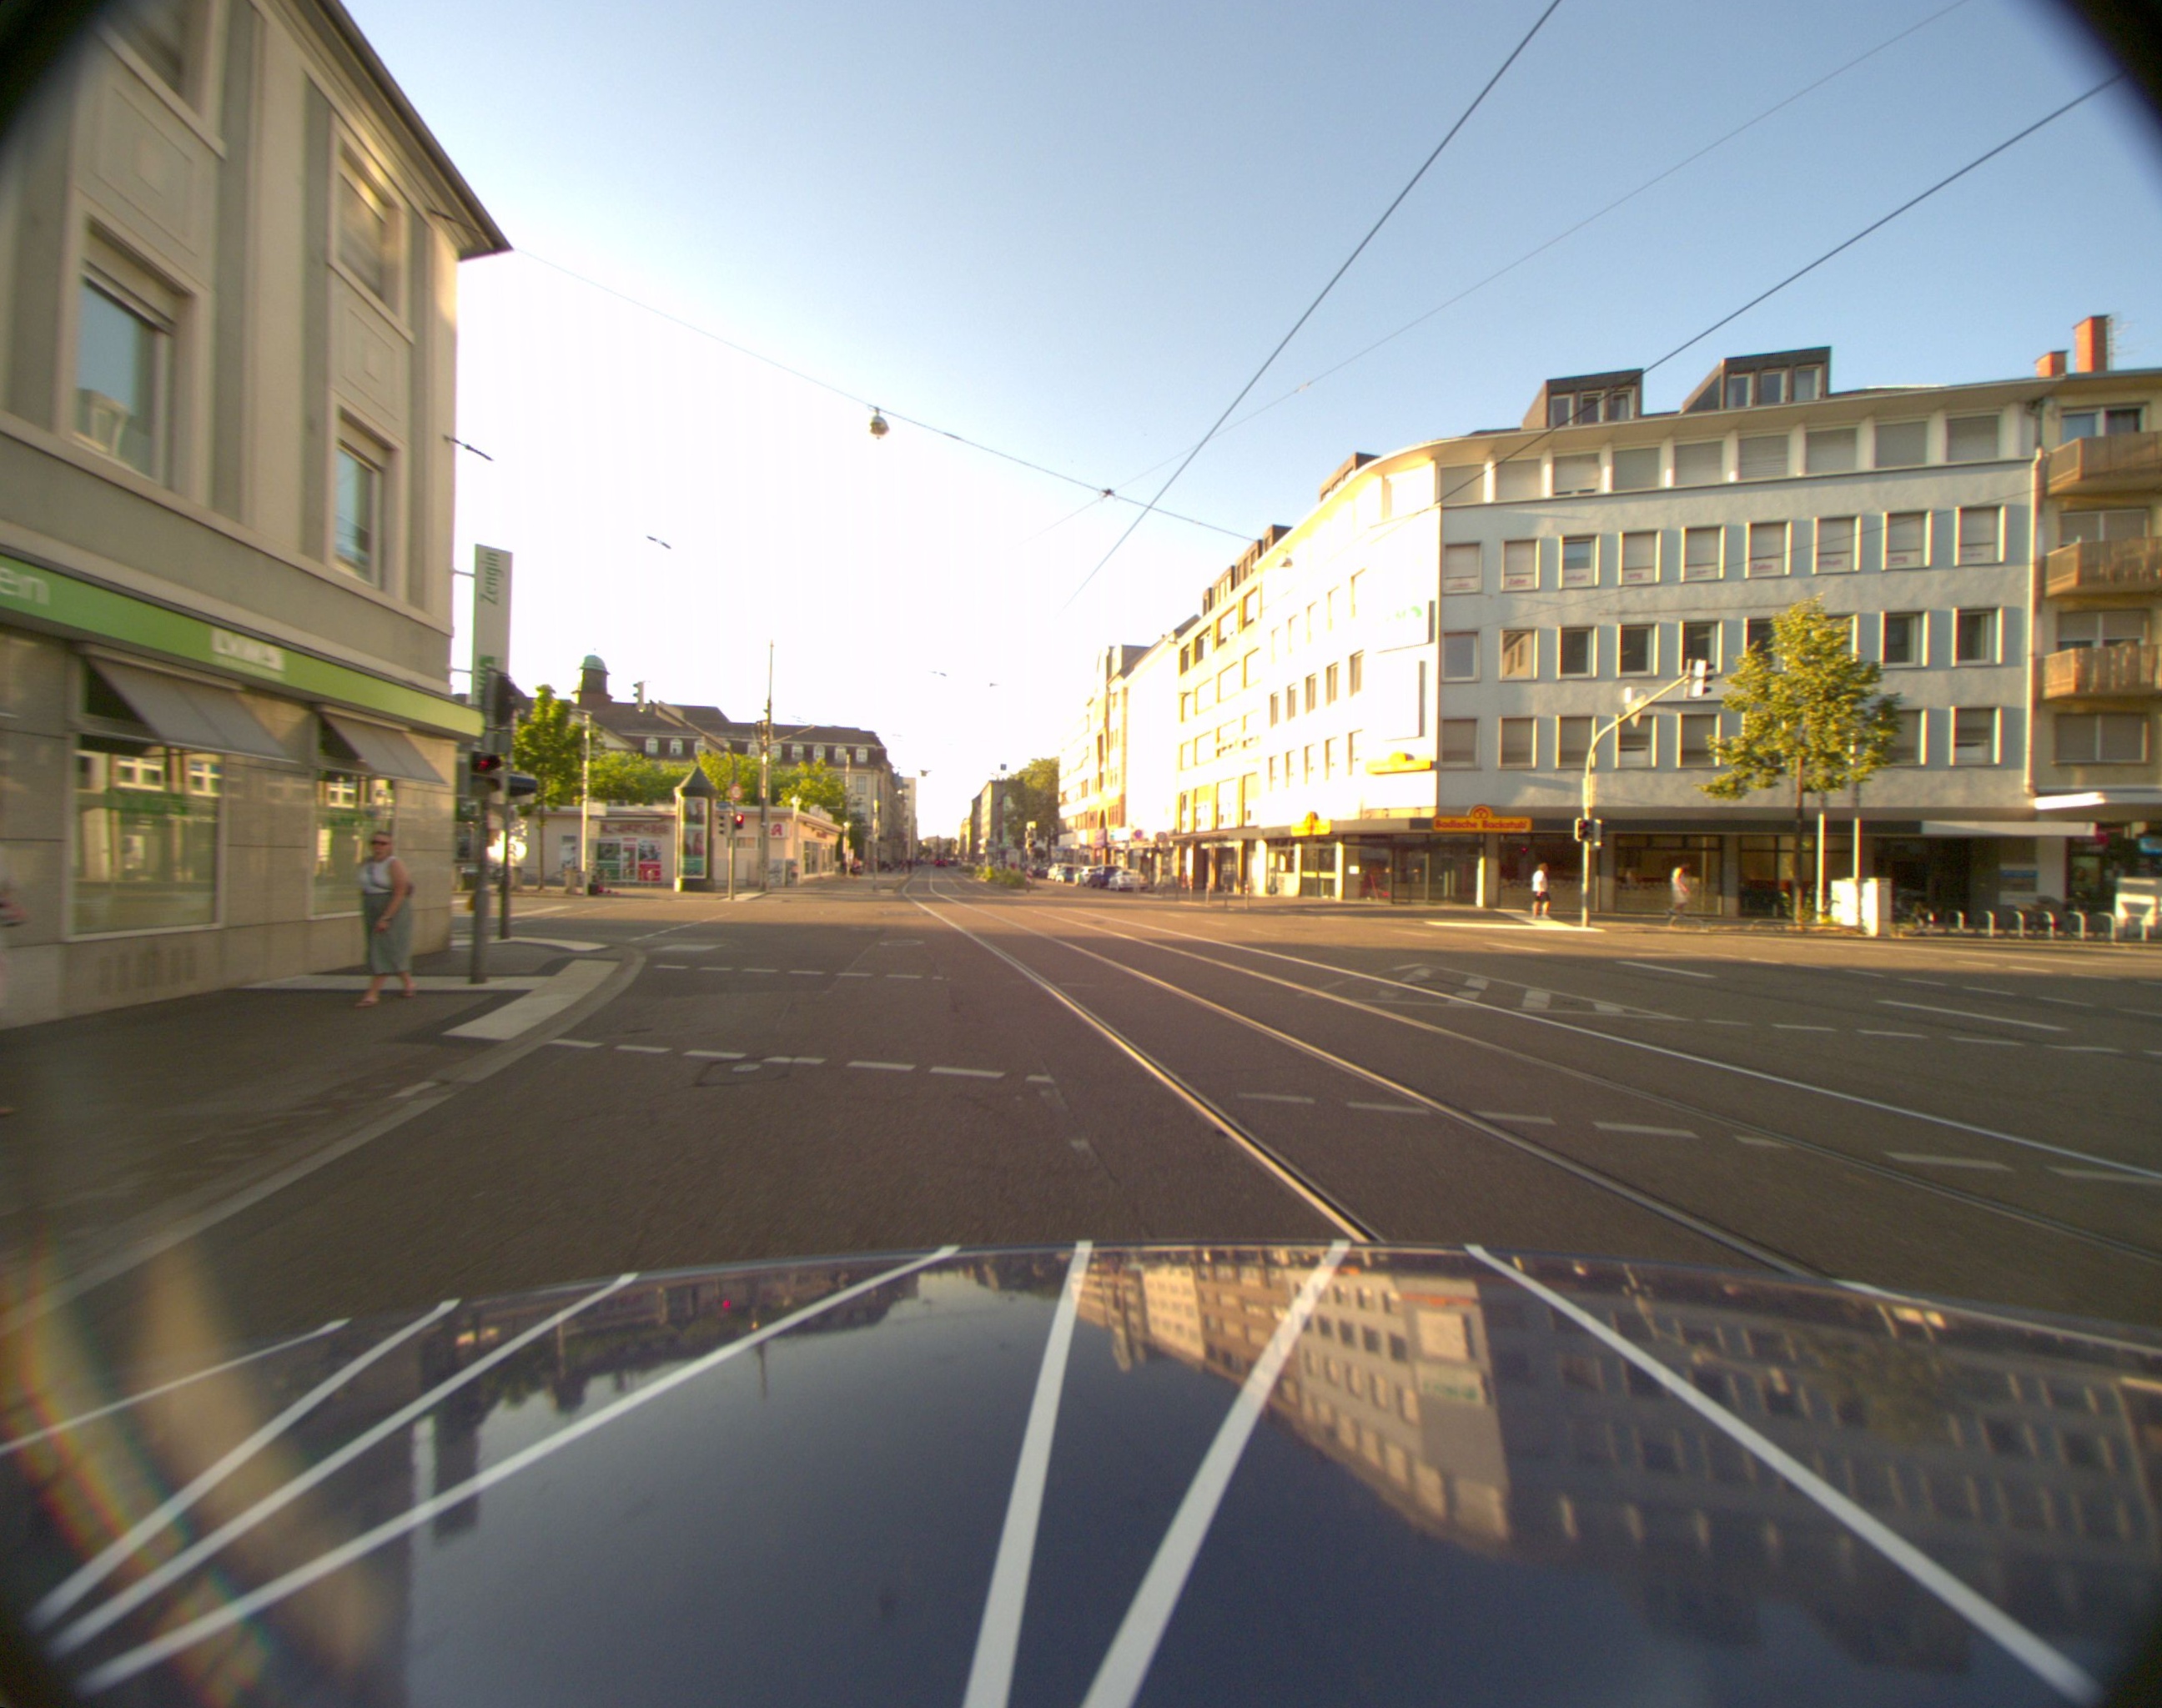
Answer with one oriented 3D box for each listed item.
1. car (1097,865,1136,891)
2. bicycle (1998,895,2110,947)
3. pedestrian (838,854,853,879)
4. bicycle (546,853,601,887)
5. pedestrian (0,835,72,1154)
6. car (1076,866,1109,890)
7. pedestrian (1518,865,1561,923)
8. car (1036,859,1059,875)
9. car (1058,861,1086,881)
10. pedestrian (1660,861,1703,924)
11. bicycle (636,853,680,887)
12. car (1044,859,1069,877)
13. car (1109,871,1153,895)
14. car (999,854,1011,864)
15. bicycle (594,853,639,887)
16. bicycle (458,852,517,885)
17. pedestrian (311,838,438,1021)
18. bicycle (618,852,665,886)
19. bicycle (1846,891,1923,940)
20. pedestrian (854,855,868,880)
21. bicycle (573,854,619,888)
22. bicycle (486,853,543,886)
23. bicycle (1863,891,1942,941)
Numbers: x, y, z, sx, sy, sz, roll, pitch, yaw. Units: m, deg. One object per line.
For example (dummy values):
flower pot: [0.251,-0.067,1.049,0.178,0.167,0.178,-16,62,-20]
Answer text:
car: [2.338,1.575,51.196,1.849,1.625,3.997,1,0,-9]
bicycle: [25.264,1.705,19.783,0.469,1.196,1.919,1,0,2]
pedestrian: [-15.589,0.837,50.278,0.807,1.603,0.993,0,1,-12]
bicycle: [-23.552,0.748,35.315,0.679,1.514,2.232,1,0,14]
pedestrian: [-6.178,0.760,4.050,0.640,1.735,0.699,1,0,-9]
car: [0.854,1.783,57.283,1.849,1.625,3.997,1,0,-9]
pedestrian: [14.148,1.220,23.463,0.991,1.716,0.808,1,1,41]
car: [-3.397,1.295,76.765,1.849,1.625,3.997,1,0,-9]
car: [-0.805,1.419,64.993,1.849,1.625,3.997,1,0,-9]
pedestrian: [18.661,1.171,23.621,0.991,1.876,0.808,1,2,41]
bicycle: [-19.146,0.719,34.453,0.478,1.514,1.994,1,0,13]
car: [-2.276,1.250,70.210,1.849,1.625,3.997,1,0,-9]
car: [3.036,1.766,46.685,1.849,1.287,3.997,1,0,-9]
car: [-12.964,0.905,128.804,1.849,1.625,3.997,1,0,-9]
bicycle: [-21.458,0.740,35.153,0.478,1.514,1.994,1,0,14]
bicycle: [-28.435,0.705,36.444,0.679,1.514,2.232,1,0,14]
pedestrian: [-7.101,0.734,7.670,0.672,1.768,0.647,1,0,-8]
bicycle: [-20.227,0.691,35.019,0.478,1.514,1.995,1,0,20]
bicycle: [21.579,1.620,20.447,0.469,1.196,1.921,1,0,15]
pedestrian: [-14.573,0.892,50.295,0.807,1.603,0.993,0,1,-12]
bicycle: [-22.489,0.767,35.293,0.478,1.514,1.994,1,0,14]
bicycle: [-27.283,0.734,36.628,0.679,1.514,2.232,1,0,14]
bicycle: [22.093,1.642,20.485,0.469,1.196,1.921,1,0,15]
